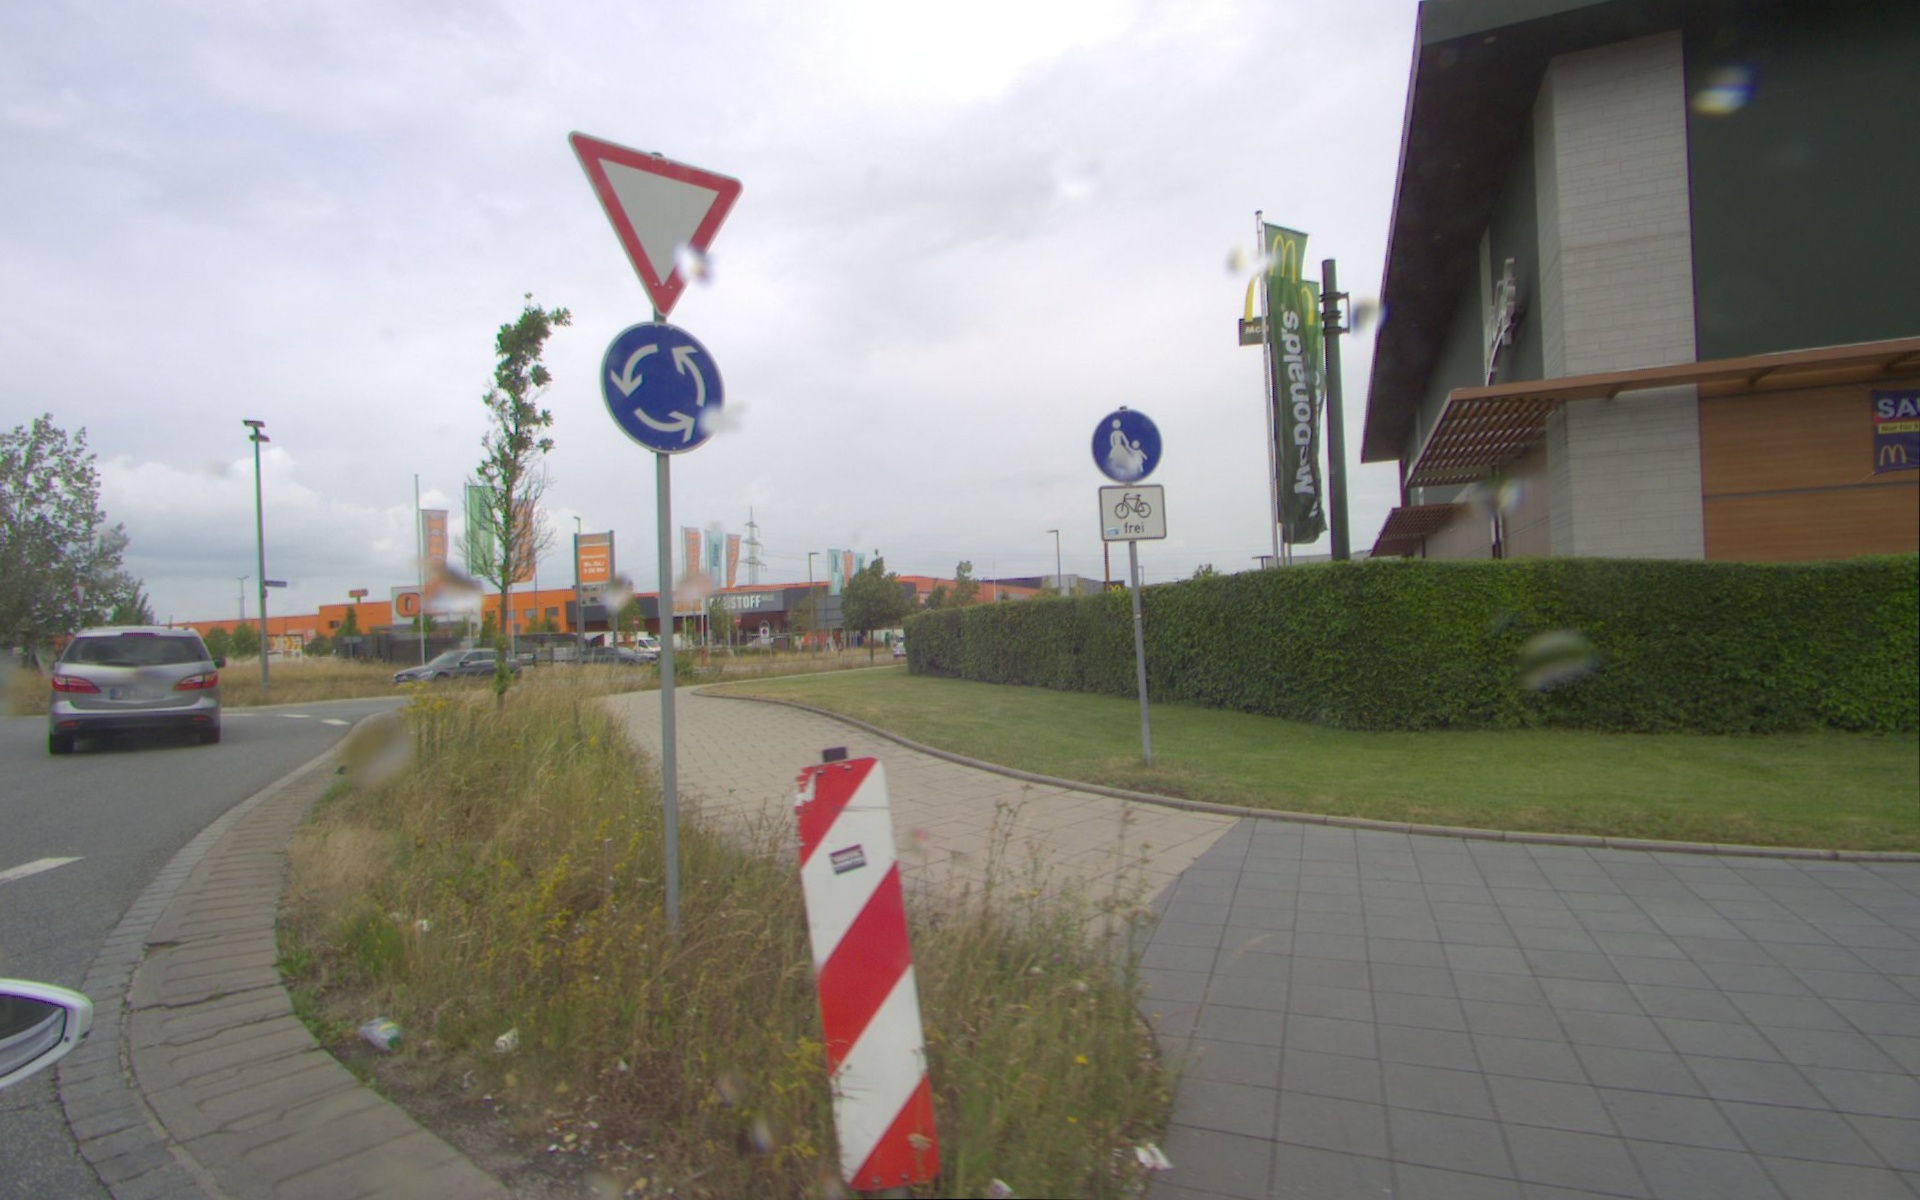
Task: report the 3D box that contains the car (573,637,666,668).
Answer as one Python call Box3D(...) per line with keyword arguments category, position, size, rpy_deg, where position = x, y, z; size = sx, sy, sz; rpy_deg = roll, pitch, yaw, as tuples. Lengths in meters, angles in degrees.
Box3D(category="car", position=(-19.348, 3.014, 56.947), size=(4.593, 1.525, 2.001), rpy_deg=(-3, -3, 7))

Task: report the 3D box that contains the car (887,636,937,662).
Box3D(category="car", position=(-2.872, 2.928, 60.544), size=(1.781, 1.483, 3.995), rpy_deg=(0, -1, 17))

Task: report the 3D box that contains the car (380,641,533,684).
Box3D(category="car", position=(-17.775, 2.212, 35.582), size=(1.898, 1.421, 4.673), rpy_deg=(-2, -3, 27))

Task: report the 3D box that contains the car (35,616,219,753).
Box3D(category="car", position=(-11.449, 1.080, 13.969), size=(1.723, 1.619, 3.968), rpy_deg=(2, -2, -37))

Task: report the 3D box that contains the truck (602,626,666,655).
Box3D(category="truck", position=(-31.579, 3.929, 97.065), size=(5.449, 2.514, 2.440), rpy_deg=(-4, -3, 13))
